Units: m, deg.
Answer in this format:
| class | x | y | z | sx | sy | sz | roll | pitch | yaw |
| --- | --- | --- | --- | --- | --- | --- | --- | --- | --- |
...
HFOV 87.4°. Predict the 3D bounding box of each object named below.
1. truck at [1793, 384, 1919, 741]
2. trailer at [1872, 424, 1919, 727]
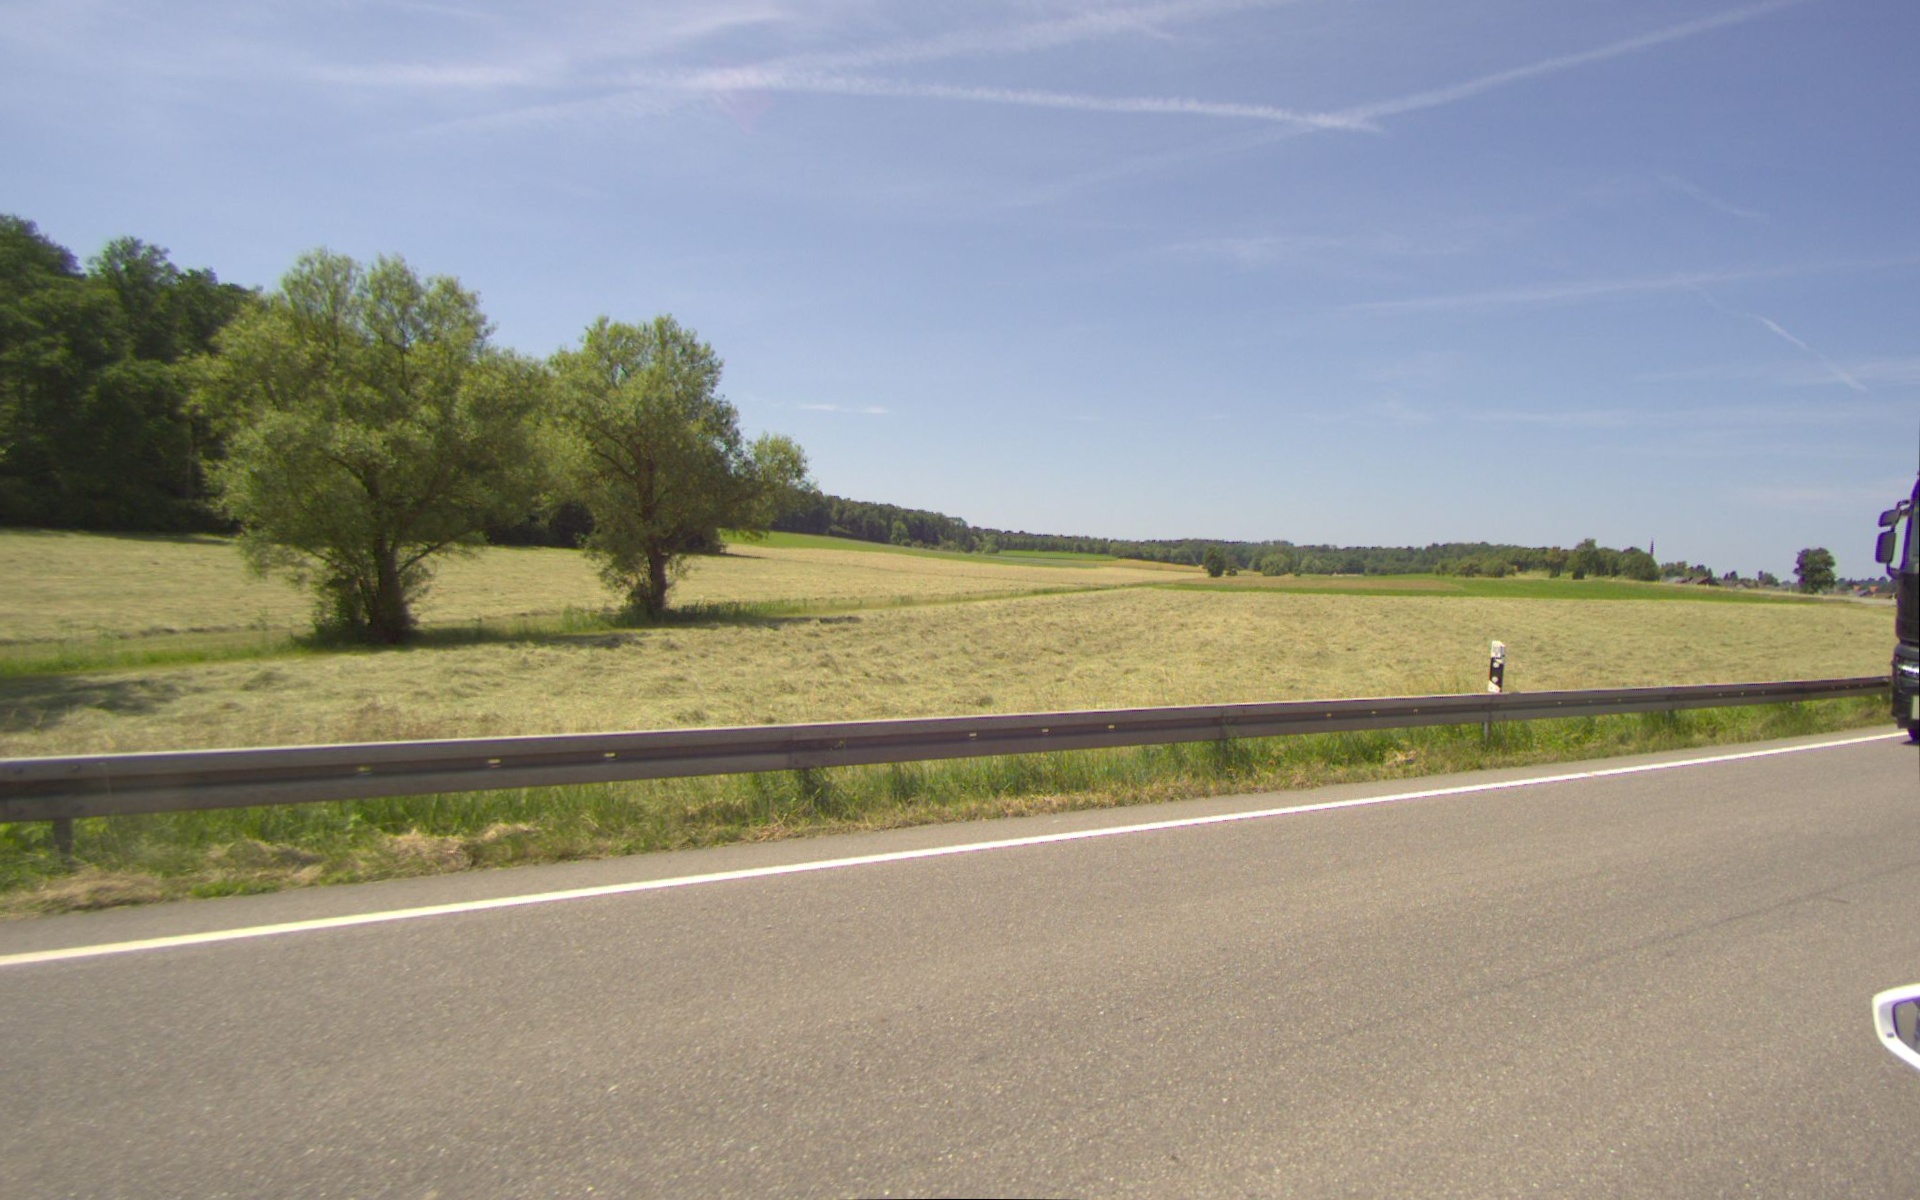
| class | x | y | z | sx | sy | sz | roll | pitch | yaw |
| --- | --- | --- | --- | --- | --- | --- | --- | --- | --- |
| truck | 14.420 | -0.402 | 13.643 | 5.388 | 4.459 | 3.354 | 2 | -1 | -33 |
| trailer | 20.422 | -0.240 | 17.605 | 13.600 | 4.459 | 3.353 | 1 | -1 | -34 |
